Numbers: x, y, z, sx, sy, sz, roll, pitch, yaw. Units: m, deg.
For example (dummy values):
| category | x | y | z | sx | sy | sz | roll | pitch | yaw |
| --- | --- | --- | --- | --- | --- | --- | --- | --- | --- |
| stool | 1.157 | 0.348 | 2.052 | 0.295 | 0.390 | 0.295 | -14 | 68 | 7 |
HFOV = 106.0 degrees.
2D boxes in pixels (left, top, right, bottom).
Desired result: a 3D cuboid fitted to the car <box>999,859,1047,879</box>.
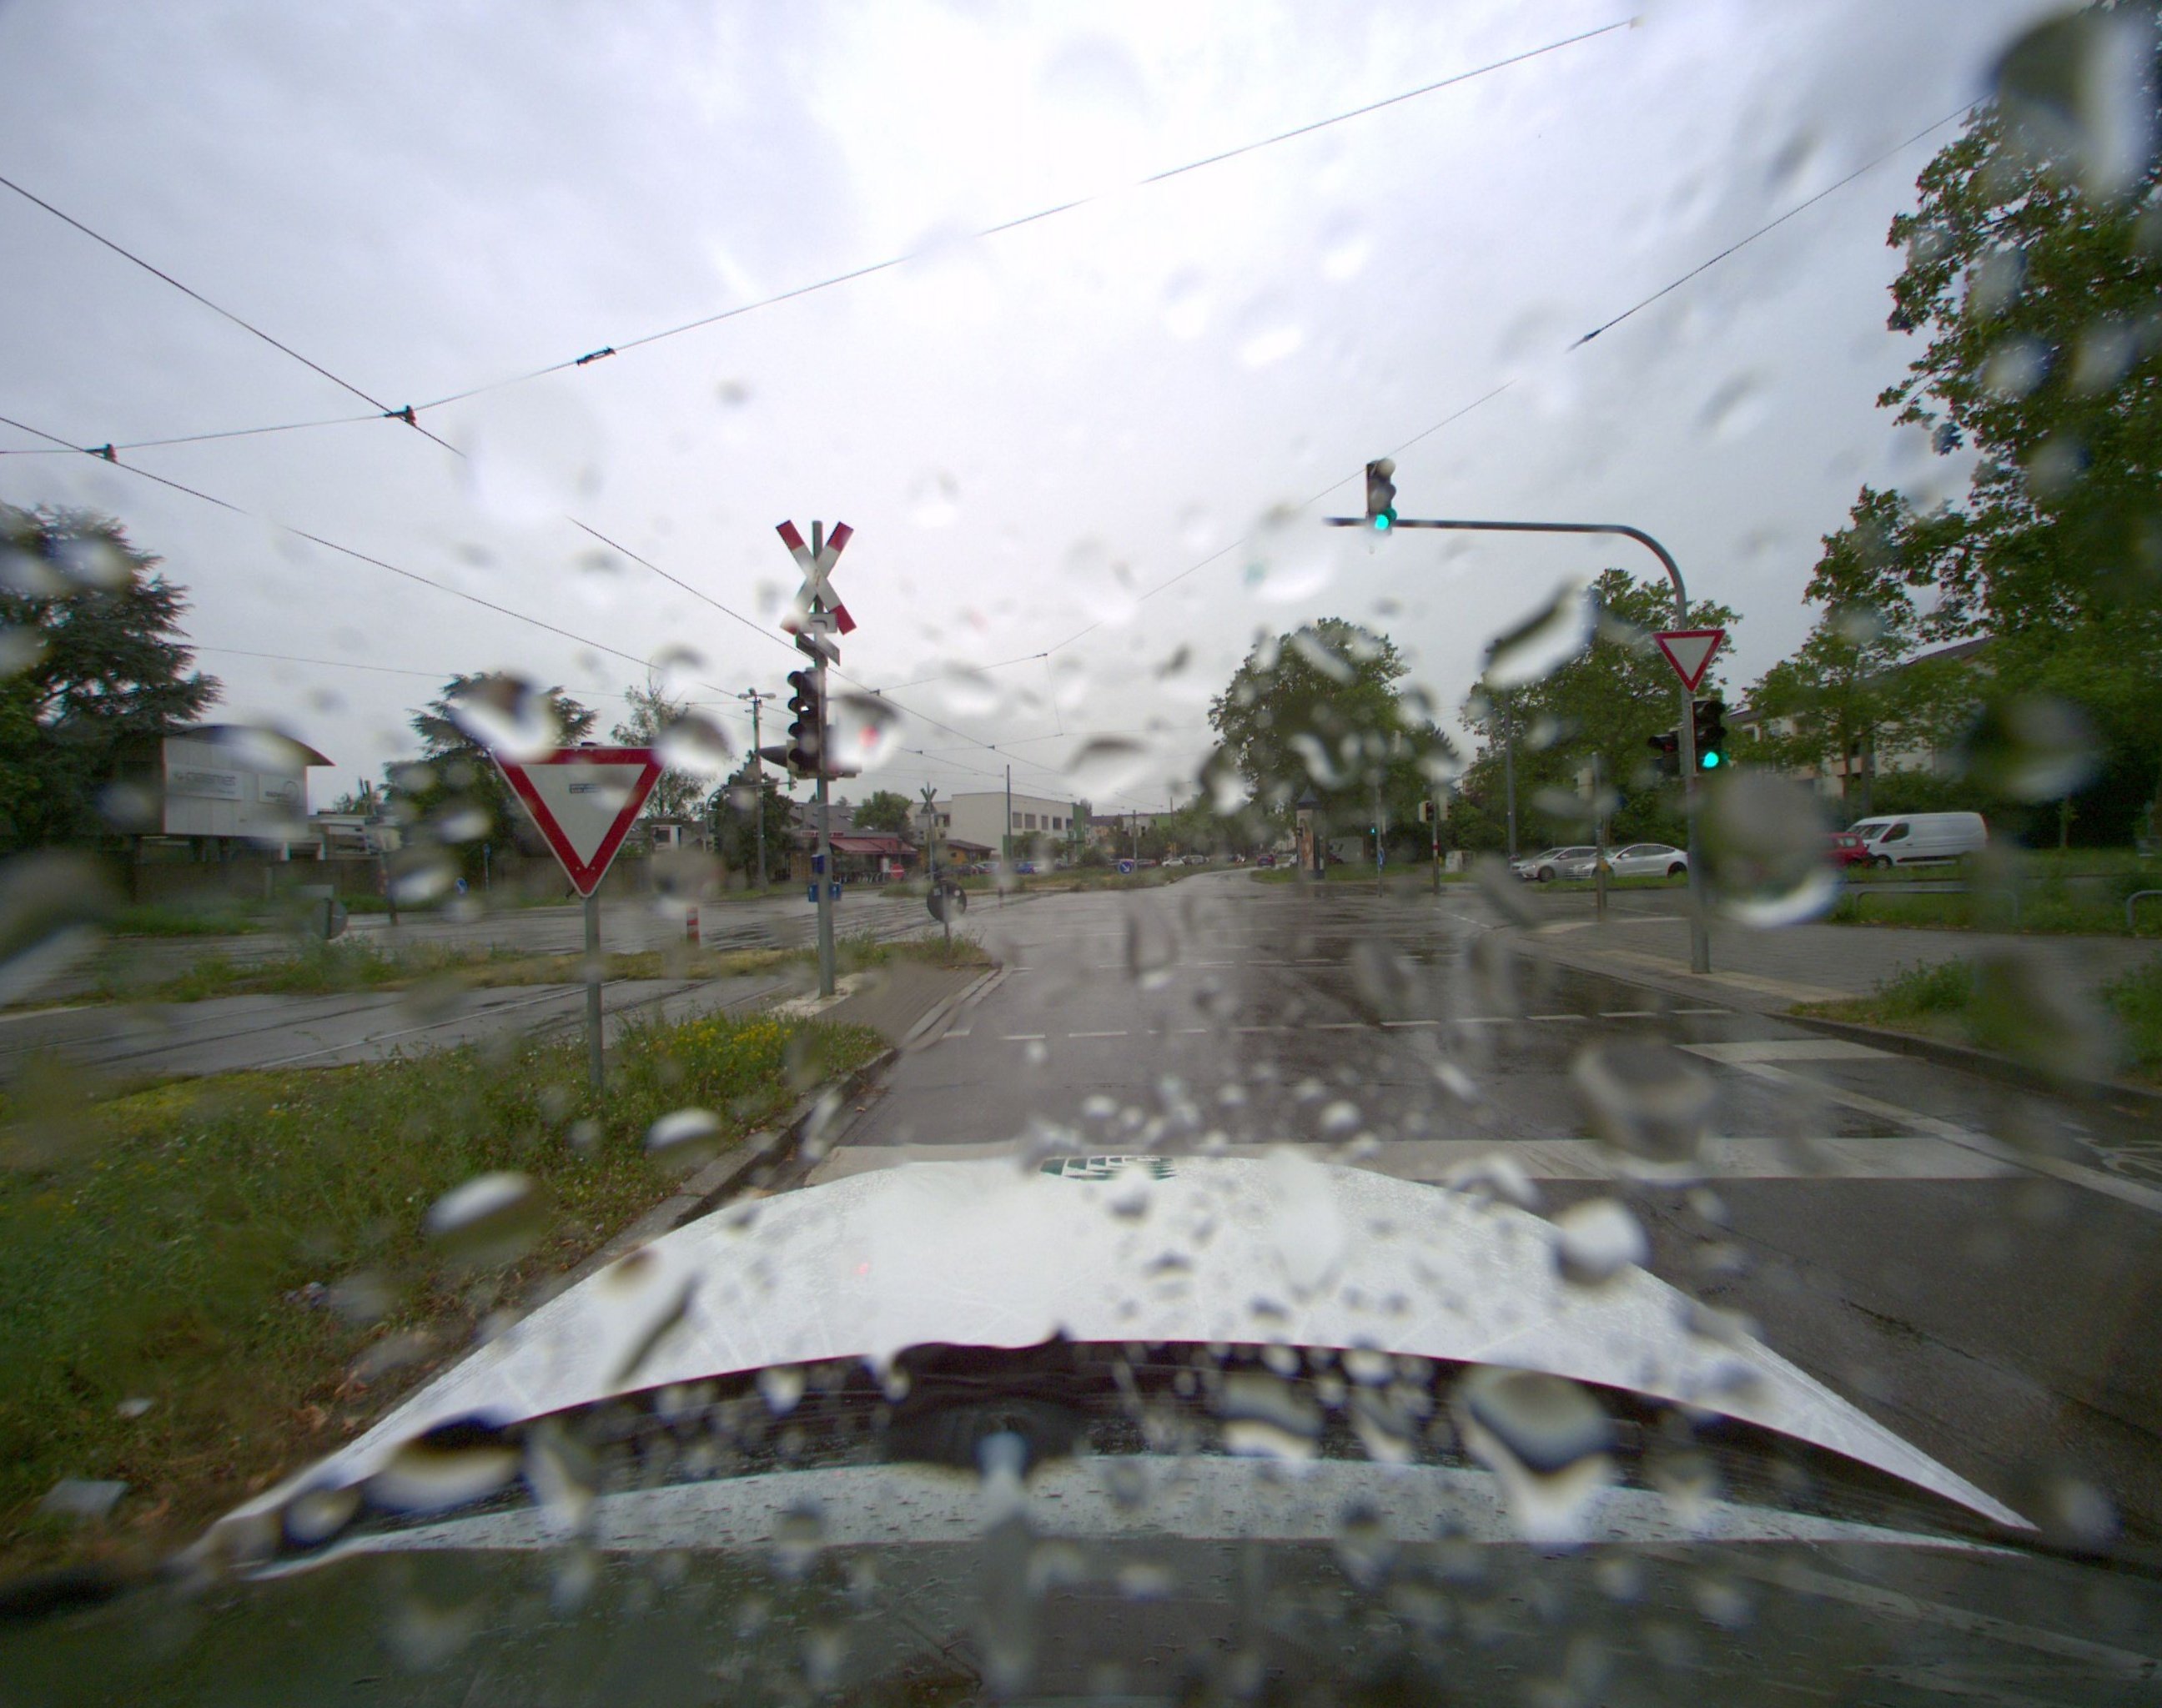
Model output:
| category | x | y | z | sx | sy | sz | roll | pitch | yaw |
| --- | --- | --- | --- | --- | --- | --- | --- | --- | --- |
| car | -5.224 | 1.358 | 73.197 | 4.112 | 1.641 | 1.922 | -1 | -1 | -12 |

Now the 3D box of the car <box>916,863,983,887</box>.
| category | x | y | z | sx | sy | sz | roll | pitch | yaw |
| --- | --- | --- | --- | --- | --- | --- | --- | --- | --- |
| car | -9.558 | 1.515 | 59.364 | 4.459 | 1.418 | 1.860 | -3 | -1 | 3 |

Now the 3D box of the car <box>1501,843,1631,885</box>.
| category | x | y | z | sx | sy | sz | roll | pitch | yaw |
| --- | --- | --- | --- | --- | --- | --- | --- | --- | --- |
| car | 20.197 | 0.417 | 34.022 | 4.385 | 1.691 | 1.931 | 0 | -1 | -5 |

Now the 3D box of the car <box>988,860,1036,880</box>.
| category | x | y | z | sx | sy | sz | roll | pitch | yaw |
| --- | --- | --- | --- | --- | --- | --- | --- | --- | --- |
| car | -5.936 | 1.361 | 70.105 | 3.986 | 1.582 | 1.924 | -2 | -1 | -9 |

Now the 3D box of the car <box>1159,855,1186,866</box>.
| category | x | y | z | sx | sy | sz | roll | pitch | yaw |
| --- | --- | --- | --- | --- | --- | --- | --- | --- | --- |
| car | 14.217 | 0.951 | 126.630 | 3.772 | 1.702 | 1.832 | 0 | -1 | -8 |

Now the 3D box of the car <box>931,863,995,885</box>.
| category | x | y | z | sx | sy | sz | roll | pitch | yaw |
| --- | --- | --- | --- | --- | --- | --- | --- | --- | --- |
| car | -8.902 | 1.514 | 61.758 | 4.478 | 1.418 | 1.860 | -3 | -1 | 3 |

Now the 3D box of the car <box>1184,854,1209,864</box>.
| category | x | y | z | sx | sy | sz | roll | pitch | yaw |
| --- | --- | --- | --- | --- | --- | --- | --- | --- | --- |
| car | 20.425 | 0.848 | 144.554 | 3.986 | 1.759 | 2.004 | 0 | -1 | -10 |

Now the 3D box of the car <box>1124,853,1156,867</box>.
| category | x | y | z | sx | sy | sz | roll | pitch | yaw |
| --- | --- | --- | --- | --- | --- | --- | --- | --- | --- |
| car | 7.961 | 0.842 | 110.095 | 3.980 | 1.887 | 1.997 | 0 | -1 | -5 |

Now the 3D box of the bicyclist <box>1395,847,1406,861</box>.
| category | x | y | z | sx | sy | sz | roll | pitch | yaw |
| --- | --- | --- | --- | --- | --- | --- | --- | --- | --- |
| bicyclist | 34.001 | 0.028 | 86.588 | 0.857 | 1.425 | 0.958 | 0 | -1 | 6 |

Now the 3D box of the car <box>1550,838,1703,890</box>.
| category | x | y | z | sx | sy | sz | roll | pitch | yaw |
| --- | --- | --- | --- | --- | --- | --- | --- | --- | --- |
| car | 20.475 | 0.367 | 30.672 | 4.585 | 1.828 | 1.931 | 0 | -1 | -5 |

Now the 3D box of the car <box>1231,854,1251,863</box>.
| category | x | y | z | sx | sy | sz | roll | pitch | yaw |
| --- | --- | --- | --- | --- | --- | --- | --- | --- | --- |
| car | 34.092 | 0.942 | 173.535 | 3.977 | 1.832 | 1.998 | 0 | -1 | -3 |

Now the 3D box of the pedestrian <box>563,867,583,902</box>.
| category | x | y | z | sx | sy | sz | roll | pitch | yaw |
| --- | --- | --- | --- | --- | --- | --- | --- | --- | --- |
| pedestrian | -26.464 | 1.569 | 42.420 | 0.890 | 1.797 | 0.719 | 0 | 0 | -33 |

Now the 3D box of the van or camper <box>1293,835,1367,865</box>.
| category | x | y | z | sx | sy | sz | roll | pitch | yaw |
| --- | --- | --- | --- | --- | --- | --- | --- | --- | --- |
| van or camper | 27.290 | -0.372 | 89.220 | 7.359 | 3.178 | 3.281 | -1 | -1 | 24 |

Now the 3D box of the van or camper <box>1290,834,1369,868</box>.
| category | x | y | z | sx | sy | sz | roll | pitch | yaw |
| --- | --- | --- | --- | --- | --- | --- | --- | --- | --- |
| van or camper | 24.456 | -0.232 | 80.151 | 7.261 | 3.178 | 3.278 | -1 | -1 | 20 |

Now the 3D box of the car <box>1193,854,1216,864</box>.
| category | x | y | z | sx | sy | sz | roll | pitch | yaw |
| --- | --- | --- | --- | --- | --- | --- | --- | --- | --- |
| car | 23.237 | 0.862 | 153.513 | 3.986 | 1.832 | 1.994 | 0 | -1 | -10 |

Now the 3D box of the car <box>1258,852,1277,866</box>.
| category | x | y | z | sx | sy | sz | roll | pitch | yaw |
| --- | --- | --- | --- | --- | --- | --- | --- | --- | --- |
| car | 22.427 | 0.577 | 97.852 | 1.792 | 1.686 | 3.929 | -1 | -1 | 17 |

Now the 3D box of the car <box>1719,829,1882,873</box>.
| category | x | y | z | sx | sy | sz | roll | pitch | yaw |
| --- | --- | --- | --- | --- | --- | --- | --- | --- | --- |
| car | 26.984 | -0.102 | 30.653 | 4.589 | 1.607 | 1.790 | 0 | -1 | -1 |

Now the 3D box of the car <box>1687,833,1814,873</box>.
| category | x | y | z | sx | sy | sz | roll | pitch | yaw |
| --- | --- | --- | --- | --- | --- | --- | --- | --- | --- |
| car | 28.191 | -0.039 | 34.376 | 4.048 | 1.607 | 1.788 | 0 | -1 | -5 |

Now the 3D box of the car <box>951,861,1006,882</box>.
| category | x | y | z | sx | sy | sz | roll | pitch | yaw |
| --- | --- | --- | --- | --- | --- | --- | --- | --- | --- |
| car | -8.176 | 1.391 | 65.133 | 3.966 | 1.582 | 1.862 | -2 | -1 | 6 |

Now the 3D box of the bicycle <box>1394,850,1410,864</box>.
| category | x | y | z | sx | sy | sz | roll | pitch | yaw |
| --- | --- | --- | --- | --- | --- | --- | --- | --- | --- |
| bicycle | 33.980 | 0.301 | 86.332 | 0.857 | 1.425 | 2.708 | 0 | -1 | 6 |

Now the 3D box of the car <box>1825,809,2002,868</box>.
| category | x | y | z | sx | sy | sz | roll | pitch | yaw |
| --- | --- | --- | --- | --- | --- | --- | --- | --- | --- |
| car | 35.176 | -0.624 | 34.504 | 5.589 | 2.392 | 1.999 | 0 | -1 | -2 |

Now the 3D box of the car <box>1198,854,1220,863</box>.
| category | x | y | z | sx | sy | sz | roll | pitch | yaw |
| --- | --- | --- | --- | --- | --- | --- | --- | --- | --- |
| car | 24.975 | 0.889 | 158.544 | 3.977 | 1.832 | 1.998 | 0 | -1 | -3 |

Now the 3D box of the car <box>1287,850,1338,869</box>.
| category | x | y | z | sx | sy | sz | roll | pitch | yaw |
| --- | --- | --- | --- | --- | --- | --- | --- | --- | --- |
| car | 21.983 | 0.504 | 77.234 | 4.405 | 1.717 | 2.011 | -1 | -1 | 23 |

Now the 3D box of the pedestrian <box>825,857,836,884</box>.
| category | x | y | z | sx | sy | sz | roll | pitch | yaw |
| --- | --- | --- | --- | --- | --- | --- | --- | --- | --- |
| pedestrian | -18.822 | 1.240 | 61.267 | 0.726 | 2.014 | 0.789 | 0 | -1 | -21 |

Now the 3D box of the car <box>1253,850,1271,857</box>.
| category | x | y | z | sx | sy | sz | roll | pitch | yaw |
| --- | --- | --- | --- | --- | --- | --- | --- | --- | --- |
| car | 44.051 | -0.145 | 197.901 | 3.977 | 1.832 | 1.998 | 0 | -1 | -3 |
